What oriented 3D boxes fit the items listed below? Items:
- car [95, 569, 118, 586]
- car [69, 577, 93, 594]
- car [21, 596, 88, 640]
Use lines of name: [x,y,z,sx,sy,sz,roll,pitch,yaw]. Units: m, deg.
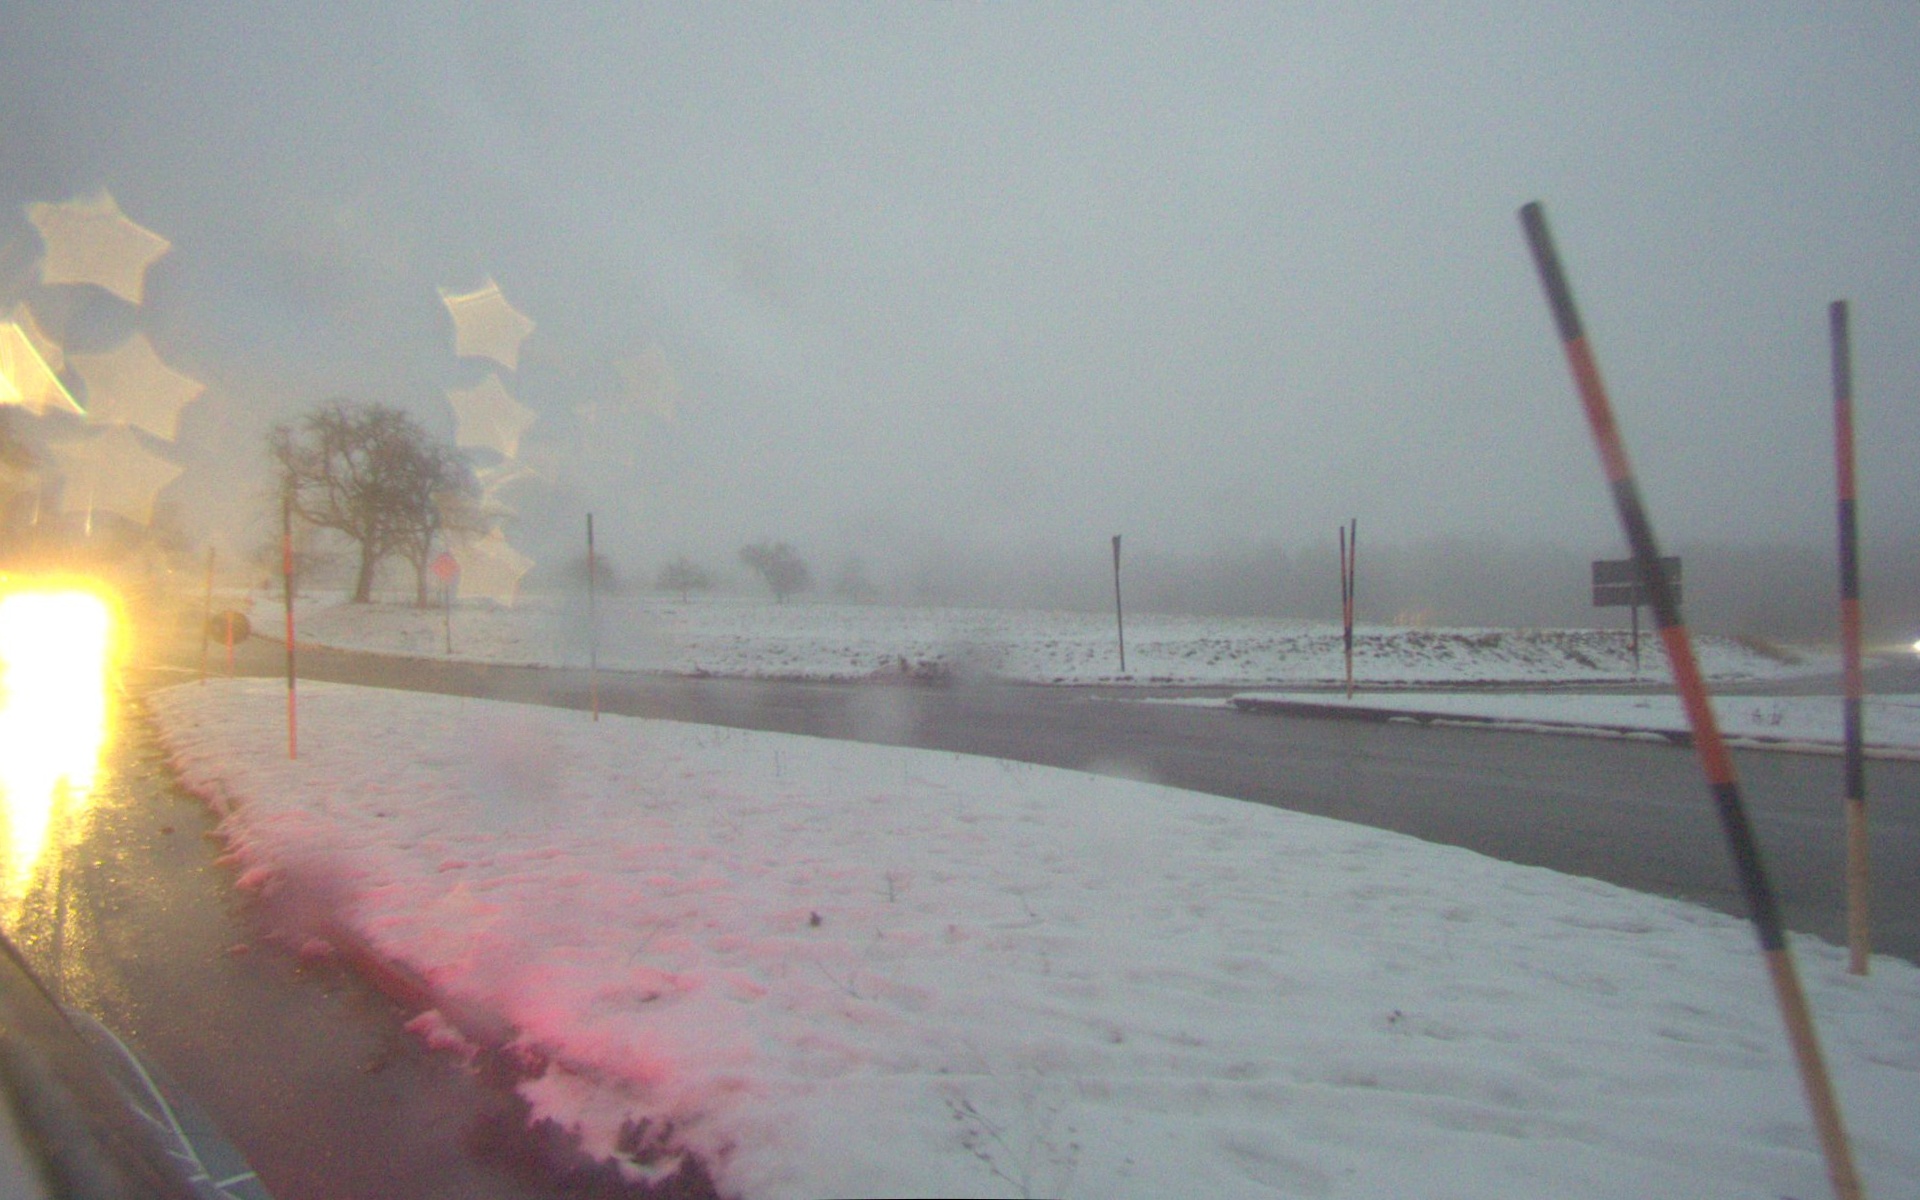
car: [-94.836,-2.457,112.438,1.969,1.820,4.006,-1,1,-41]
car: [-95.657,-1.568,110.140,1.969,1.820,4.006,-1,1,-41]
car: [-32.270,0.617,36.135,1.699,1.445,3.682,-1,0,-41]
